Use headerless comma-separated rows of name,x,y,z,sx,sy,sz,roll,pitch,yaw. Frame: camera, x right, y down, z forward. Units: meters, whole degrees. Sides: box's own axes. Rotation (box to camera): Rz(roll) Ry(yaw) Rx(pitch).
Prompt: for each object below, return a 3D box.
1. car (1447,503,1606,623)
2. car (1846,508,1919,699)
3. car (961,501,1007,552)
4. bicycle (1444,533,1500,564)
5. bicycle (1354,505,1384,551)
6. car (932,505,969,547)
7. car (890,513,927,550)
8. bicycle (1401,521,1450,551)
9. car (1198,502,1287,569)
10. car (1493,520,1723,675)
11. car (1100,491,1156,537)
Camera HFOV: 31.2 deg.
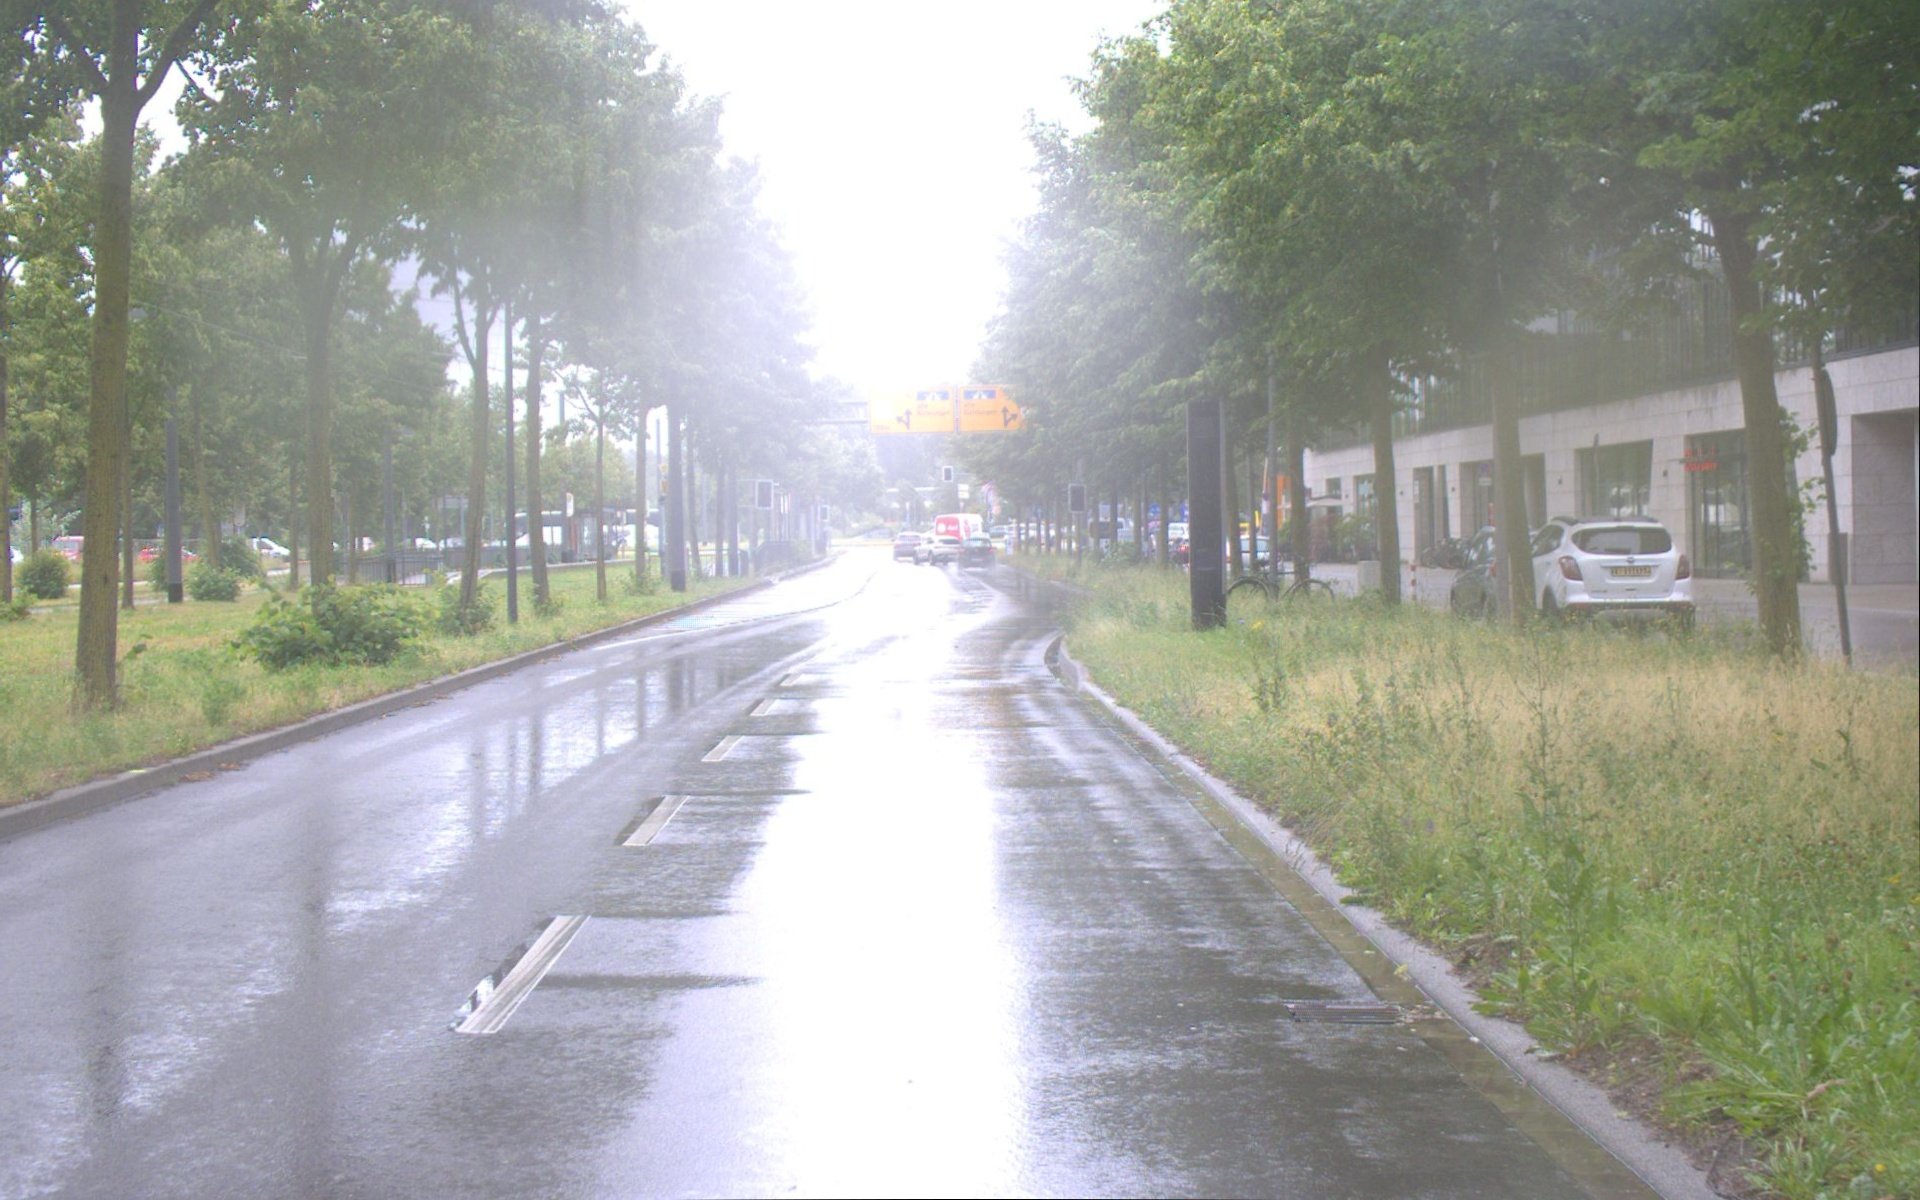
car,7.986,-0.553,48.706,1.625,1.485,3.656,-1,4,0
car,8.623,0.023,26.509,1.956,1.507,4.483,-1,1,-7
car,1.045,-3.233,150.735,1.940,2.006,4.001,-1,4,0
bicycle,17.039,-1.717,114.417,1.807,1.025,0.401,-1,1,2
bicycle,16.511,-2.928,138.971,0.772,1.716,3.121,-1,3,-1
car,-0.527,-3.919,181.898,1.888,2.006,4.001,-1,4,0
car,-2.996,-4.018,201.406,1.993,2.006,4.001,-1,4,2
bicycle,16.407,-2.269,121.170,1.694,1.025,0.423,-1,1,2
car,7.345,-1.703,89.718,1.881,1.500,4.725,-1,4,-1
car,8.213,-0.082,43.979,1.993,1.663,4.725,-1,4,-1
car,6.755,-3.454,138.660,1.906,1.785,4.688,-1,1,-1
